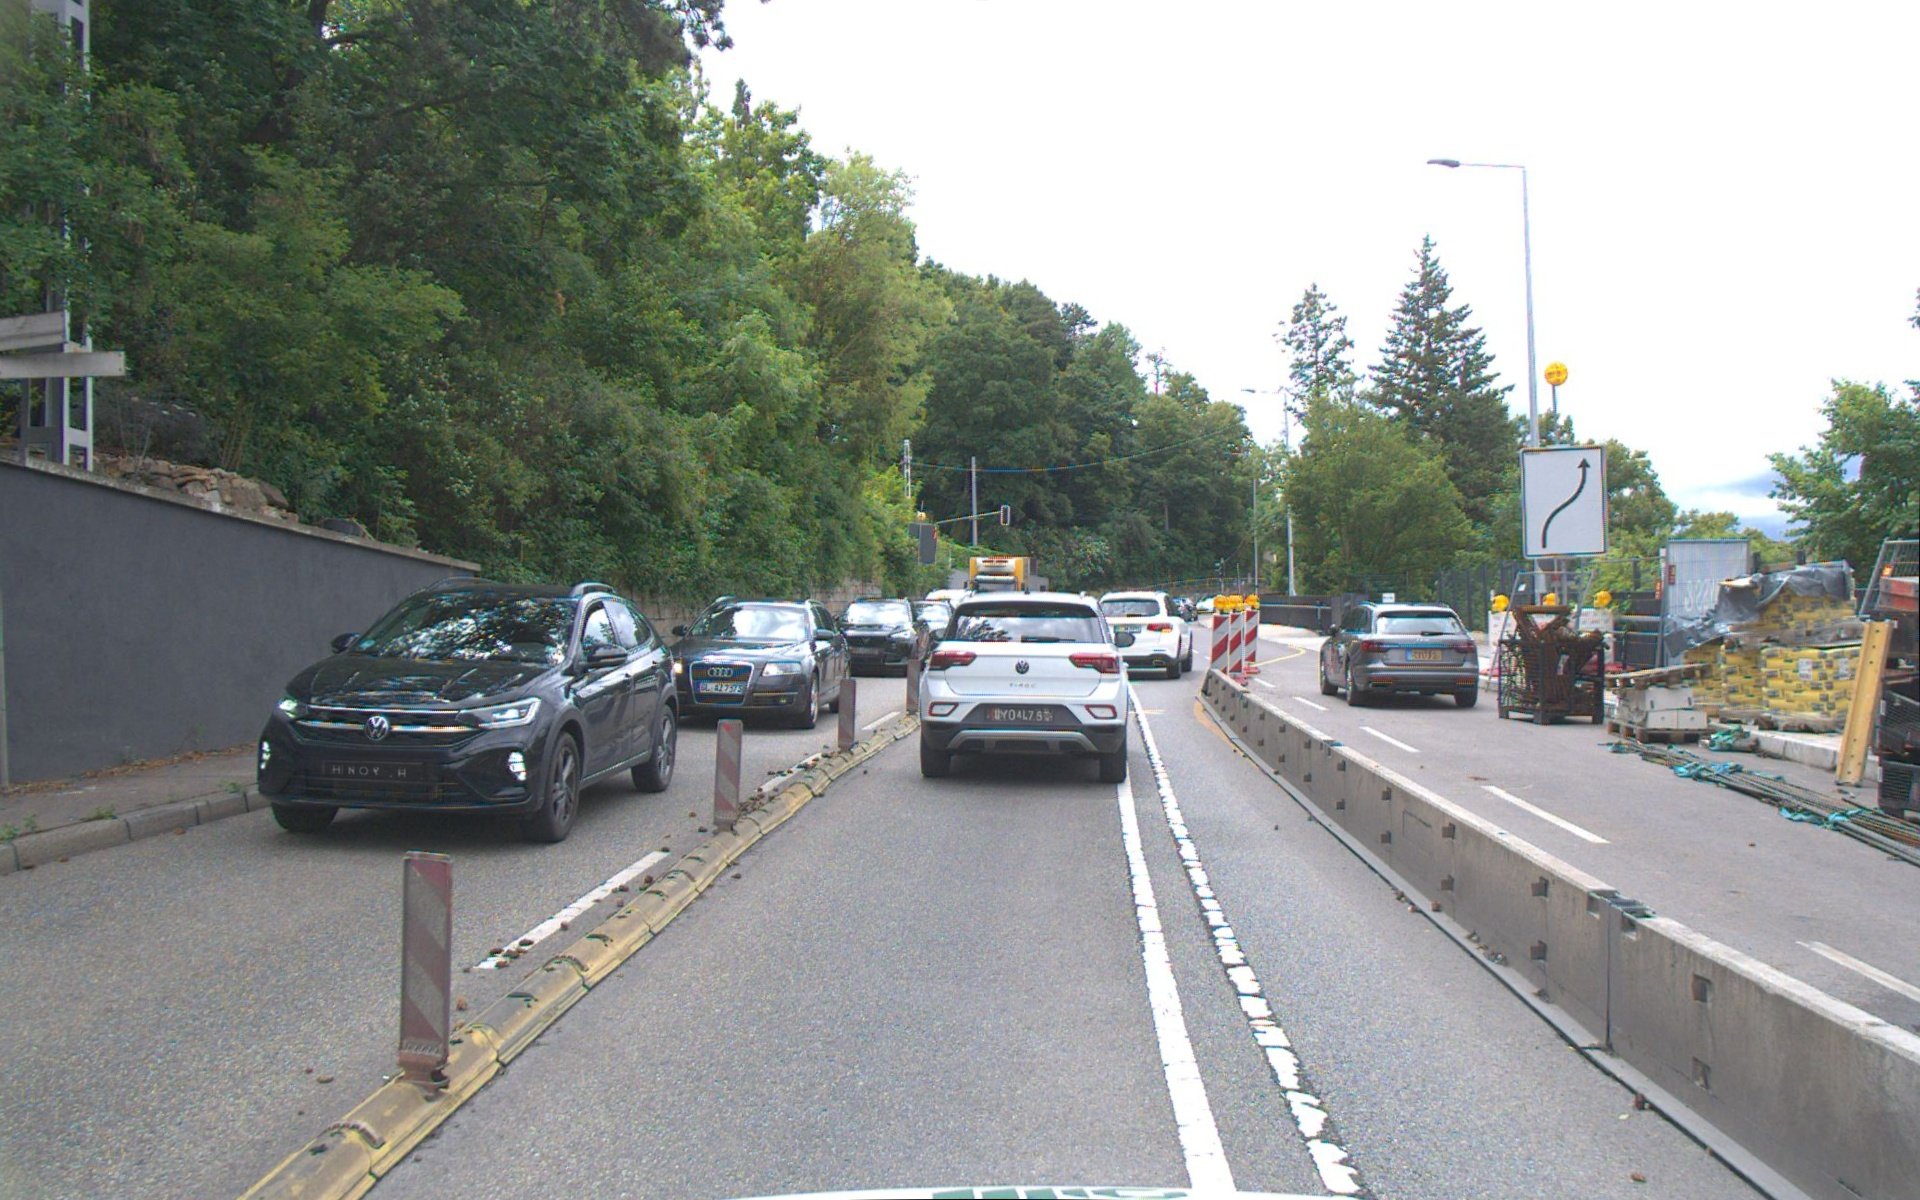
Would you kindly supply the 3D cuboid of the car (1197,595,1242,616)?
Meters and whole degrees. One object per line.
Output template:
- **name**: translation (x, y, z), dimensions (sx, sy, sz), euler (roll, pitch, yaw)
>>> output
- **car**: translation (20.583, 0.419, 130.968), dimensions (1.875, 1.601, 3.983), euler (1, 0, 37)

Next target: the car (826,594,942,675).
- **car**: translation (-1.473, 0.666, 33.541), dimensions (1.790, 1.511, 4.320), euler (1, 0, 5)

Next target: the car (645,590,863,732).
- **car**: translation (-2.345, 0.655, 19.976), dimensions (1.753, 1.490, 4.512), euler (1, 0, 4)

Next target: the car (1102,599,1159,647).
- **car**: translation (6.015, 0.799, 58.819), dimensions (1.866, 1.601, 4.002), euler (1, 0, 4)

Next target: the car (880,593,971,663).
- **car**: translation (-0.790, 0.666, 40.996), dimensions (1.792, 1.620, 4.657), euler (1, 0, 4)

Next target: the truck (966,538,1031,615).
- **truck**: translation (1.943, -1.066, 80.330), dimensions (2.673, 3.571, 7.354), euler (-1, 0, 5)

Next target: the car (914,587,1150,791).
- **car**: translation (0.707, 0.695, 14.908), dimensions (1.828, 1.563, 3.805), euler (1, 0, 4)

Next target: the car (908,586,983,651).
- **car**: translation (-0.387, 0.543, 49.374), dimensions (1.765, 1.822, 4.344), euler (1, 0, 5)

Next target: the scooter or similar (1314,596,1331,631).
- **scooter or similar**: translation (13.500, 0.511, 61.597), dimensions (0.523, 1.248, 1.207), euler (-2, 0, 11)

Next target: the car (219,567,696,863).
- **car**: translation (-3.053, 0.619, 10.955), dimensions (1.721, 1.556, 3.912), euler (2, 0, 3)

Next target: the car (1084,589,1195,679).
- **car**: translation (3.598, 0.639, 32.555), dimensions (1.951, 1.614, 4.003), euler (1, 0, 9)

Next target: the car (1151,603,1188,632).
- **car**: translation (12.039, 1.023, 95.210), dimensions (1.866, 1.601, 4.002), euler (1, 0, 4)

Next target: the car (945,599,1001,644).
- **car**: translation (0.513, 0.758, 59.803), dimensions (1.754, 1.534, 4.314), euler (1, 0, 4)

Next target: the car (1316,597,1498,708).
- **car**: translation (6.478, 0.696, 24.445), dimensions (1.801, 1.480, 4.630), euler (0, 0, 5)
